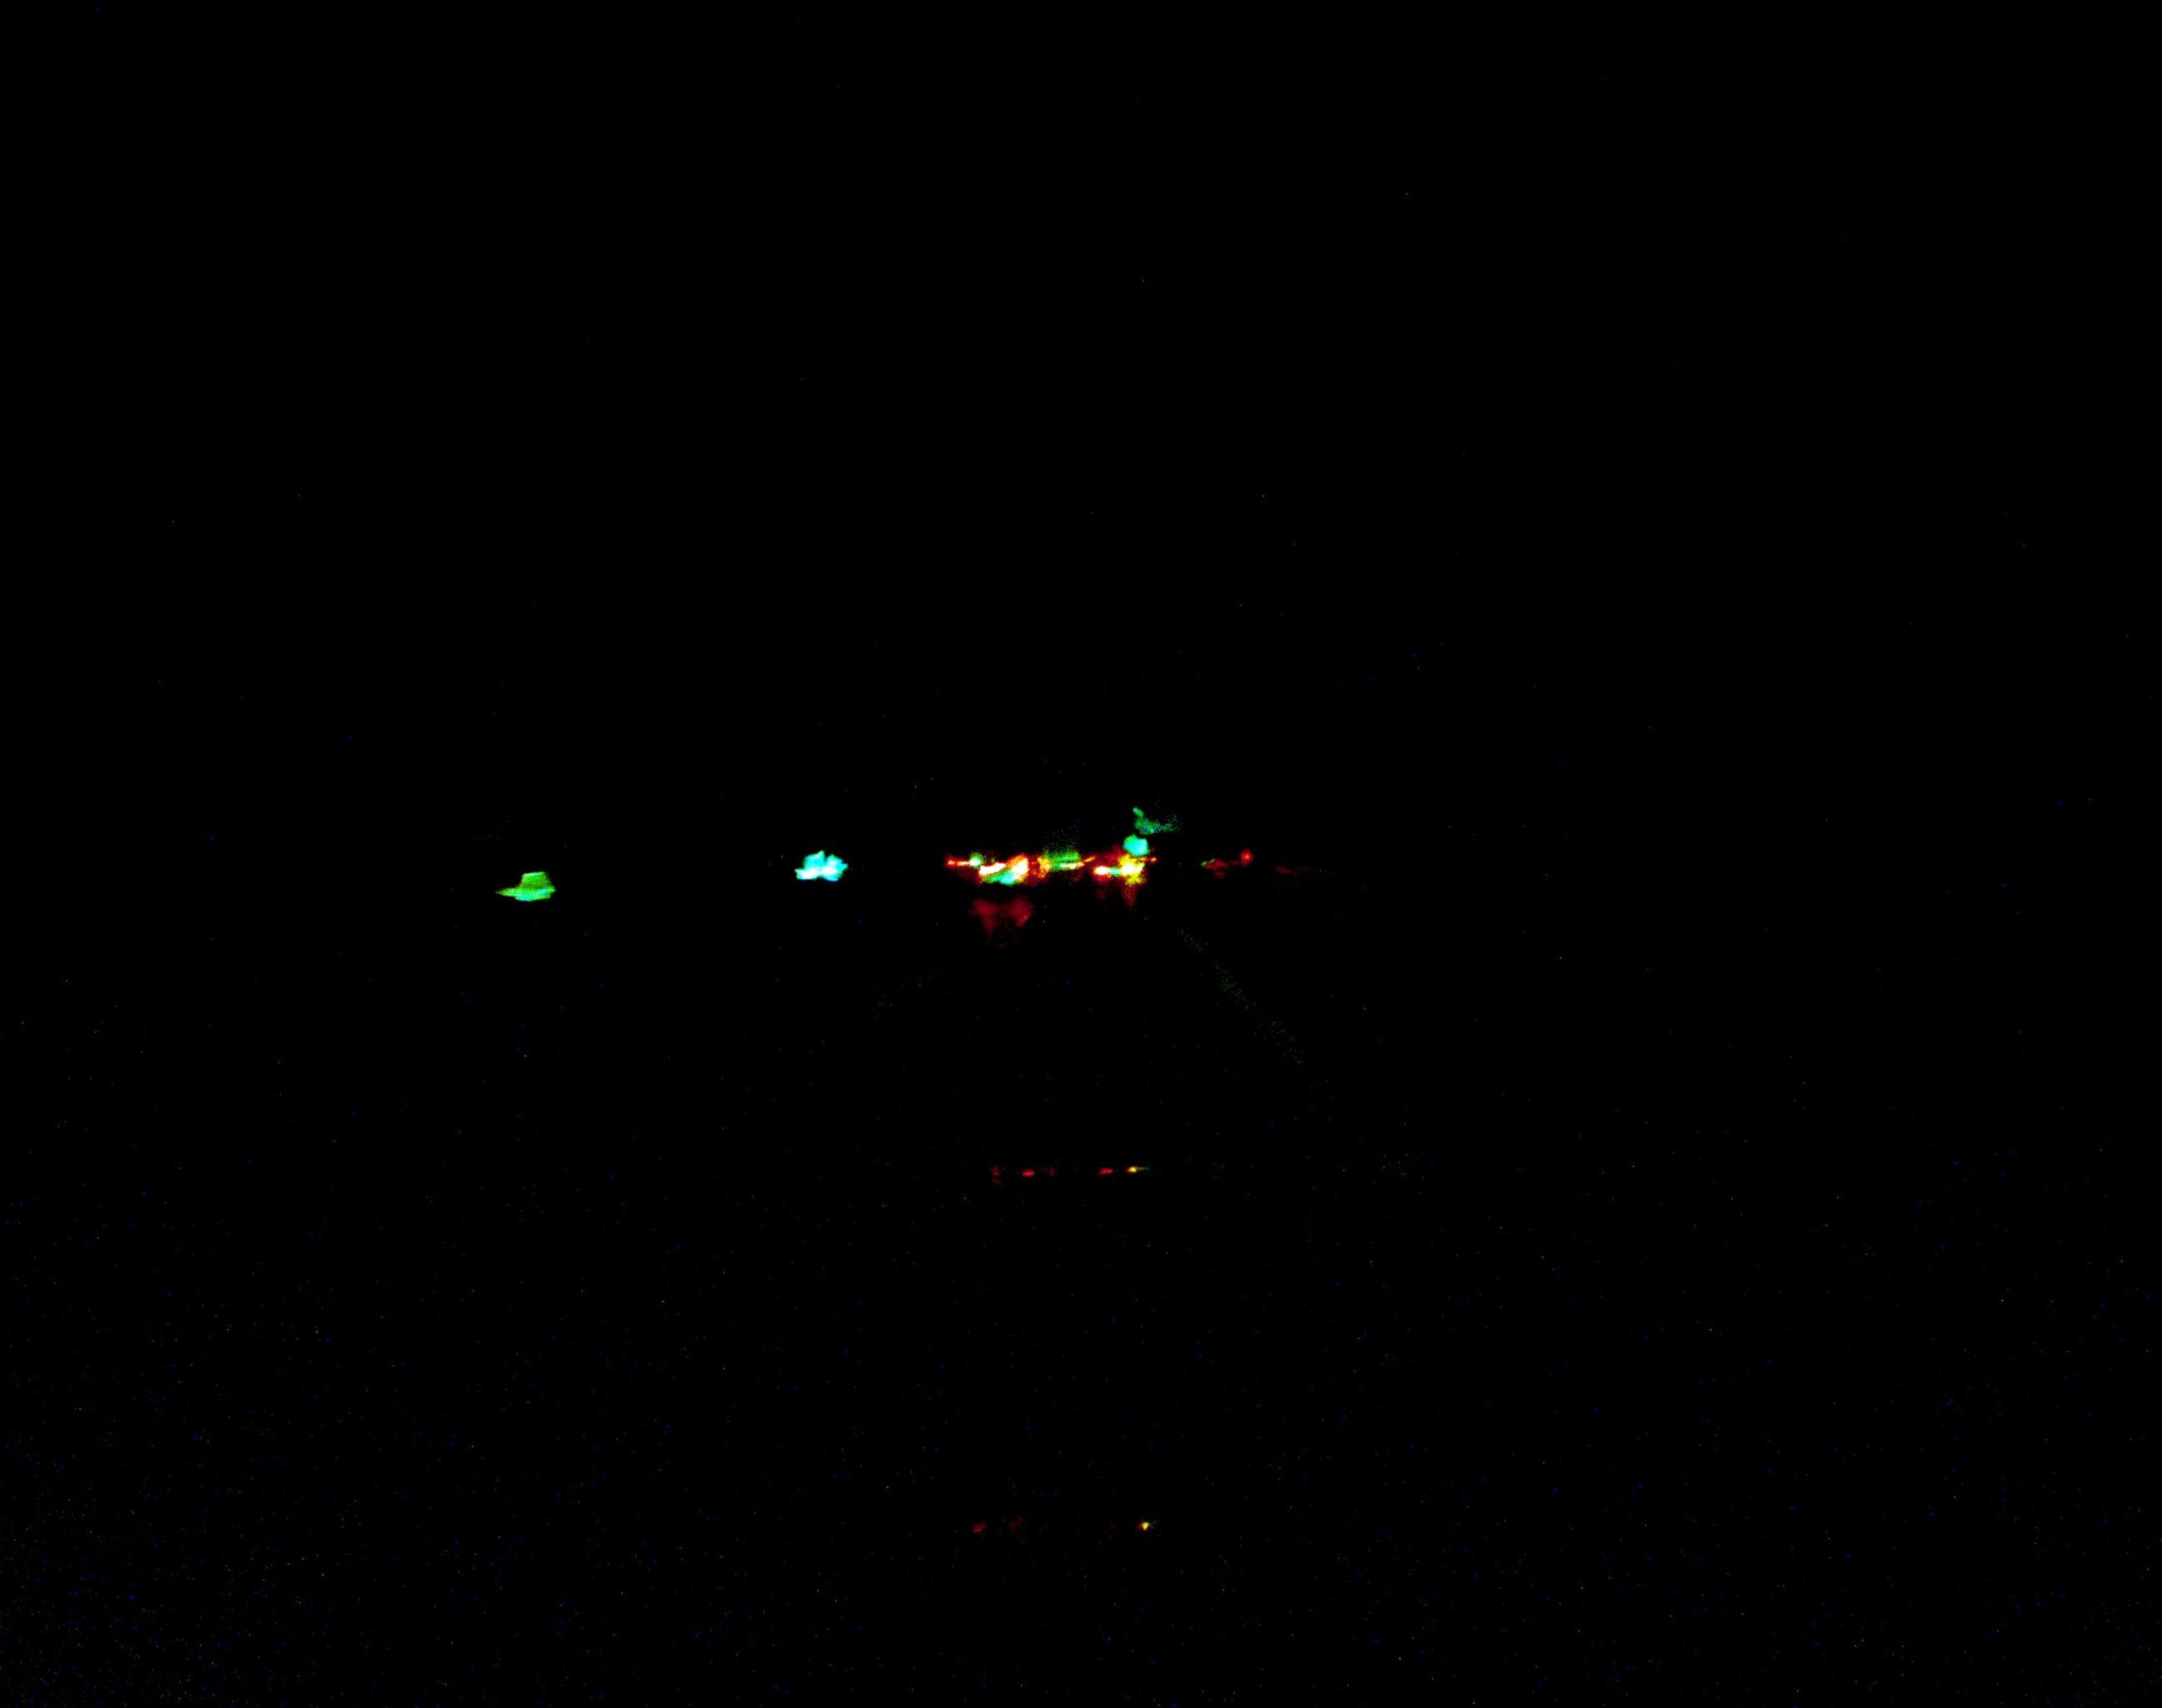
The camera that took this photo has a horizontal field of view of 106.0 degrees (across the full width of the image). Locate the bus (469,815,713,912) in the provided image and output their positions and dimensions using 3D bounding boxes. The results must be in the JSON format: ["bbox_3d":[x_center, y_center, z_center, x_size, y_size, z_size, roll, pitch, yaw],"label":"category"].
[{"bbox_3d":[-26.593,0.510,46.338,3.062,4.490,17.020,0,0,2],"label":"bus"}]

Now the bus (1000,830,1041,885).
[{"bbox_3d":[-5.231,0.320,72.428,3.088,4.508,10.906,0,0,-1],"label":"bus"}]

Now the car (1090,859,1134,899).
[{"bbox_3d":[1.448,1.124,38.512,1.986,1.807,4.002,0,0,2],"label":"car"}]

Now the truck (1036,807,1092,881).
[{"bbox_3d":[-1.260,-0.715,68.465,4.195,5.648,11.470,0,0,1],"label":"truck"}]

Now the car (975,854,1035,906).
[{"bbox_3d":[-3.101,1.035,34.139,2.119,2.014,4.644,0,0,0],"label":"car"}]

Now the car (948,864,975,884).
[{"bbox_3d":[-10.099,1.676,69.027,1.990,1.596,3.993,0,0,-5],"label":"car"}]
